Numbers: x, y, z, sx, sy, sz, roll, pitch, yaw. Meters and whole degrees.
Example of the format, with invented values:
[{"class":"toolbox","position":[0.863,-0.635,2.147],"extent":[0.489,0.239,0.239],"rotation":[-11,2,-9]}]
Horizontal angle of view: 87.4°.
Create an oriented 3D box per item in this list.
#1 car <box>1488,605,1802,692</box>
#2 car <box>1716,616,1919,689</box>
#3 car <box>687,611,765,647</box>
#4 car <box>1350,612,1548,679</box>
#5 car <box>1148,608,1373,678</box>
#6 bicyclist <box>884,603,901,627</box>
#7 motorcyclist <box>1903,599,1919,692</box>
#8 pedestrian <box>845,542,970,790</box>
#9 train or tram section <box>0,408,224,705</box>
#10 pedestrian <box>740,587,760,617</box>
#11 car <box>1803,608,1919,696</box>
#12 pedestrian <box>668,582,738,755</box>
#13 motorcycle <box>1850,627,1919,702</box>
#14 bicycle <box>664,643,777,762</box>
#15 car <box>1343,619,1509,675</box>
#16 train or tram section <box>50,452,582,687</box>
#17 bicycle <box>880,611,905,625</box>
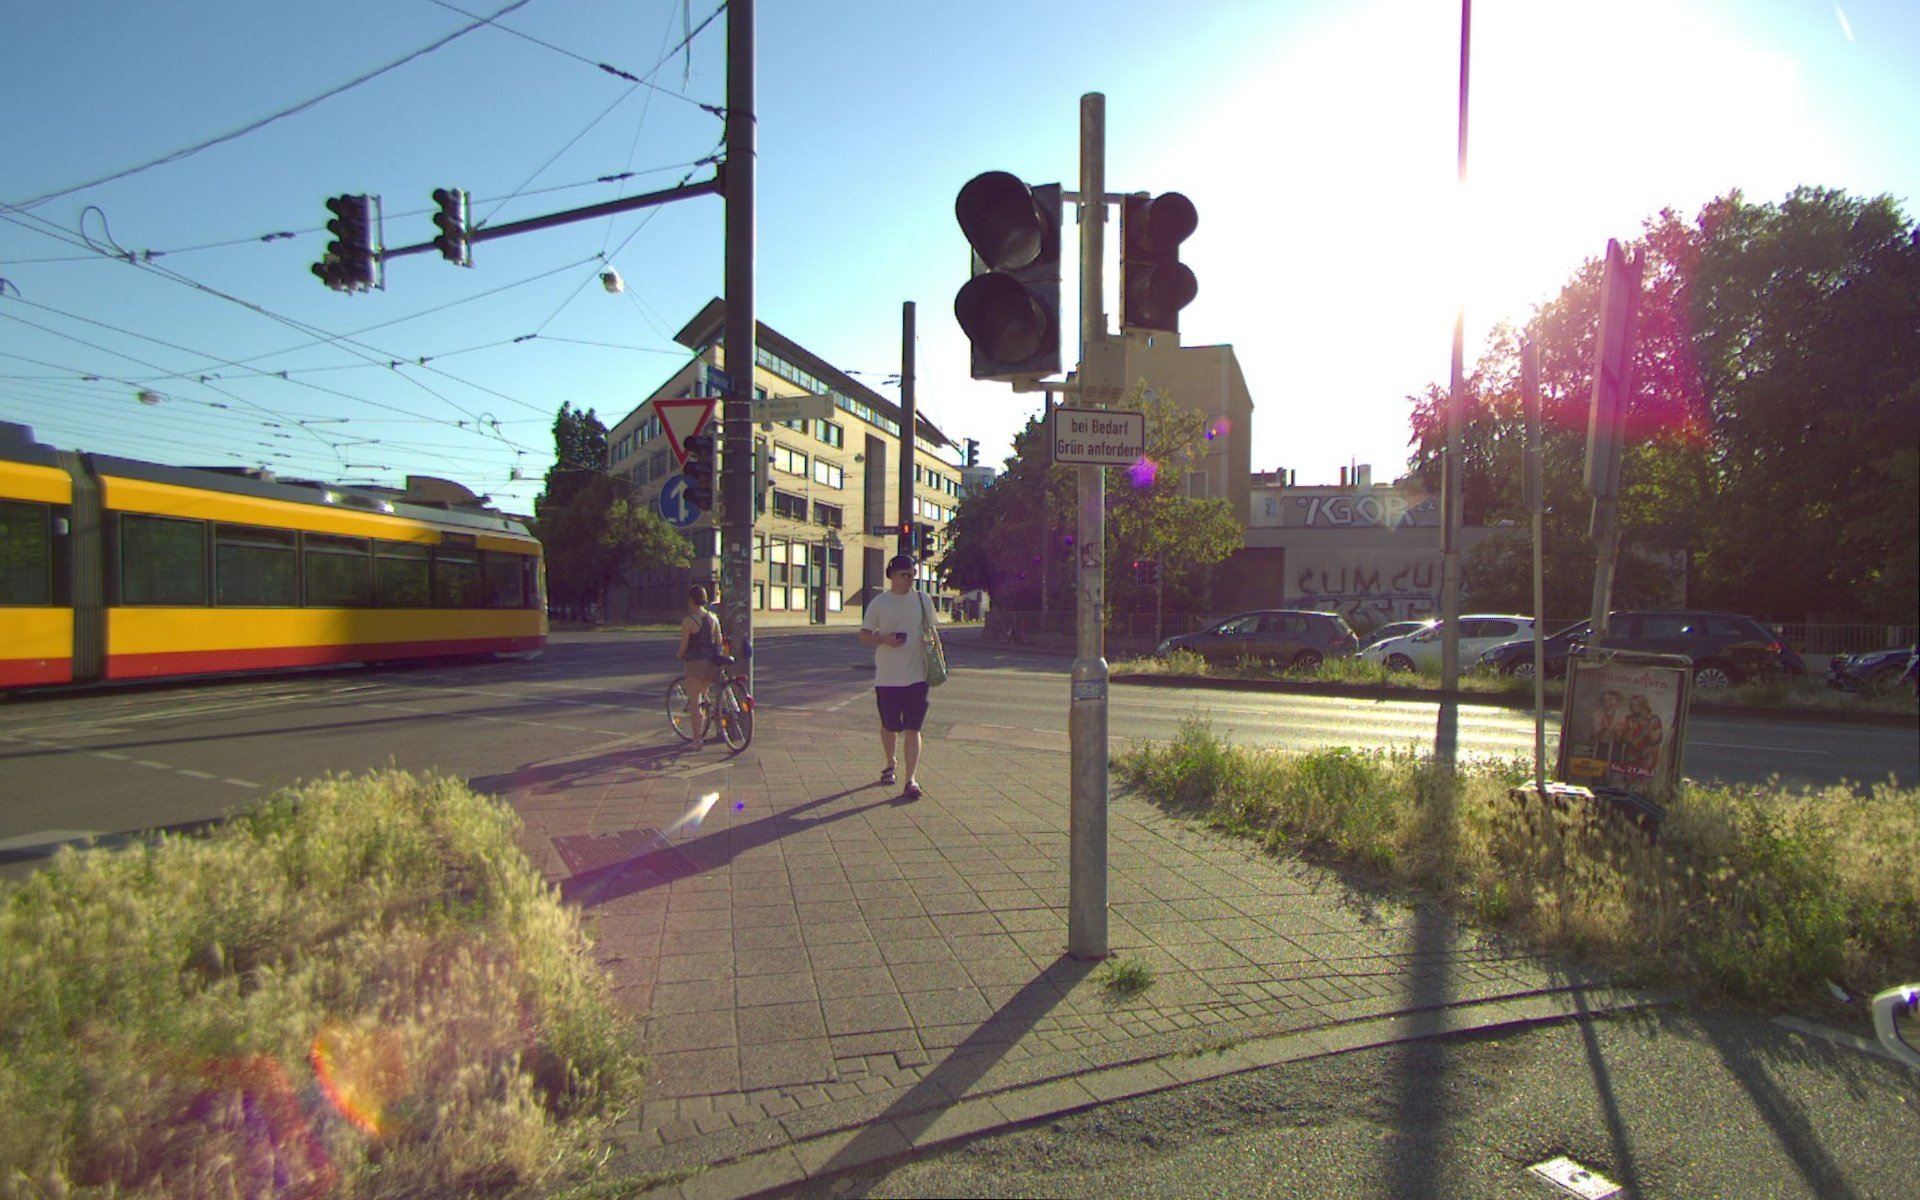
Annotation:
[{"class":"car","position":[11.604,0.776,17.368],"extent":[4.300,1.313,1.720],"rotation":[0,-1,31]},{"class":"car","position":[19.475,1.118,22.320],"extent":[3.924,1.483,1.858],"rotation":[0,0,24]},{"class":"car","position":[-11.532,1.410,49.787],"extent":[1.785,1.636,4.467],"rotation":[0,-1,16]},{"class":"car","position":[10.823,0.955,22.332],"extent":[3.824,1.337,1.721],"rotation":[0,-1,29]},{"class":"car","position":[6.218,0.843,20.932],"extent":[4.176,1.313,1.720],"rotation":[0,-1,33]},{"class":"bicyclist","position":[-5.707,1.267,85.022],"extent":[0.975,2.040,1.251],"rotation":[1,0,20]},{"class":"motorcyclist","position":[15.227,0.702,15.340],"extent":[1.043,1.416,0.852],"rotation":[0,-1,31]},{"class":"pedestrian","position":[-0.387,0.492,7.795],"extent":[0.894,1.812,0.827],"rotation":[1,-1,-1]},{"class":"train or tram section","position":[-12.845,-0.525,12.700],"extent":[2.812,3.554,5.307],"rotation":[1,-1,6]},{"class":"pedestrian","position":[-14.499,0.128,69.368],"extent":[0.912,2.040,0.989],"rotation":[1,0,17]},{"class":"car","position":[18.407,0.935,17.612],"extent":[5.192,1.515,1.998],"rotation":[0,-1,25]},{"class":"pedestrian","position":[-2.552,0.662,9.961],"extent":[0.485,1.653,0.519],"rotation":[1,-1,-40]},{"class":"motorcycle","position":[15.279,0.995,15.308],"extent":[2.426,1.122,0.859],"rotation":[0,-1,31]},{"class":"bicycle","position":[-2.413,0.977,10.005],"extent":[0.396,1.043,1.652],"rotation":[1,-1,-40]},{"class":"car","position":[12.189,1.191,26.289],"extent":[3.824,1.313,1.721],"rotation":[0,-1,29]},{"class":"train or tram section","position":[-11.994,-0.395,20.964],"extent":[2.812,3.554,11.304],"rotation":[1,-1,6]},{"class":"bicycle","position":[-5.714,1.542,85.028],"extent":[0.993,1.150,2.827],"rotation":[2,0,20]}]
